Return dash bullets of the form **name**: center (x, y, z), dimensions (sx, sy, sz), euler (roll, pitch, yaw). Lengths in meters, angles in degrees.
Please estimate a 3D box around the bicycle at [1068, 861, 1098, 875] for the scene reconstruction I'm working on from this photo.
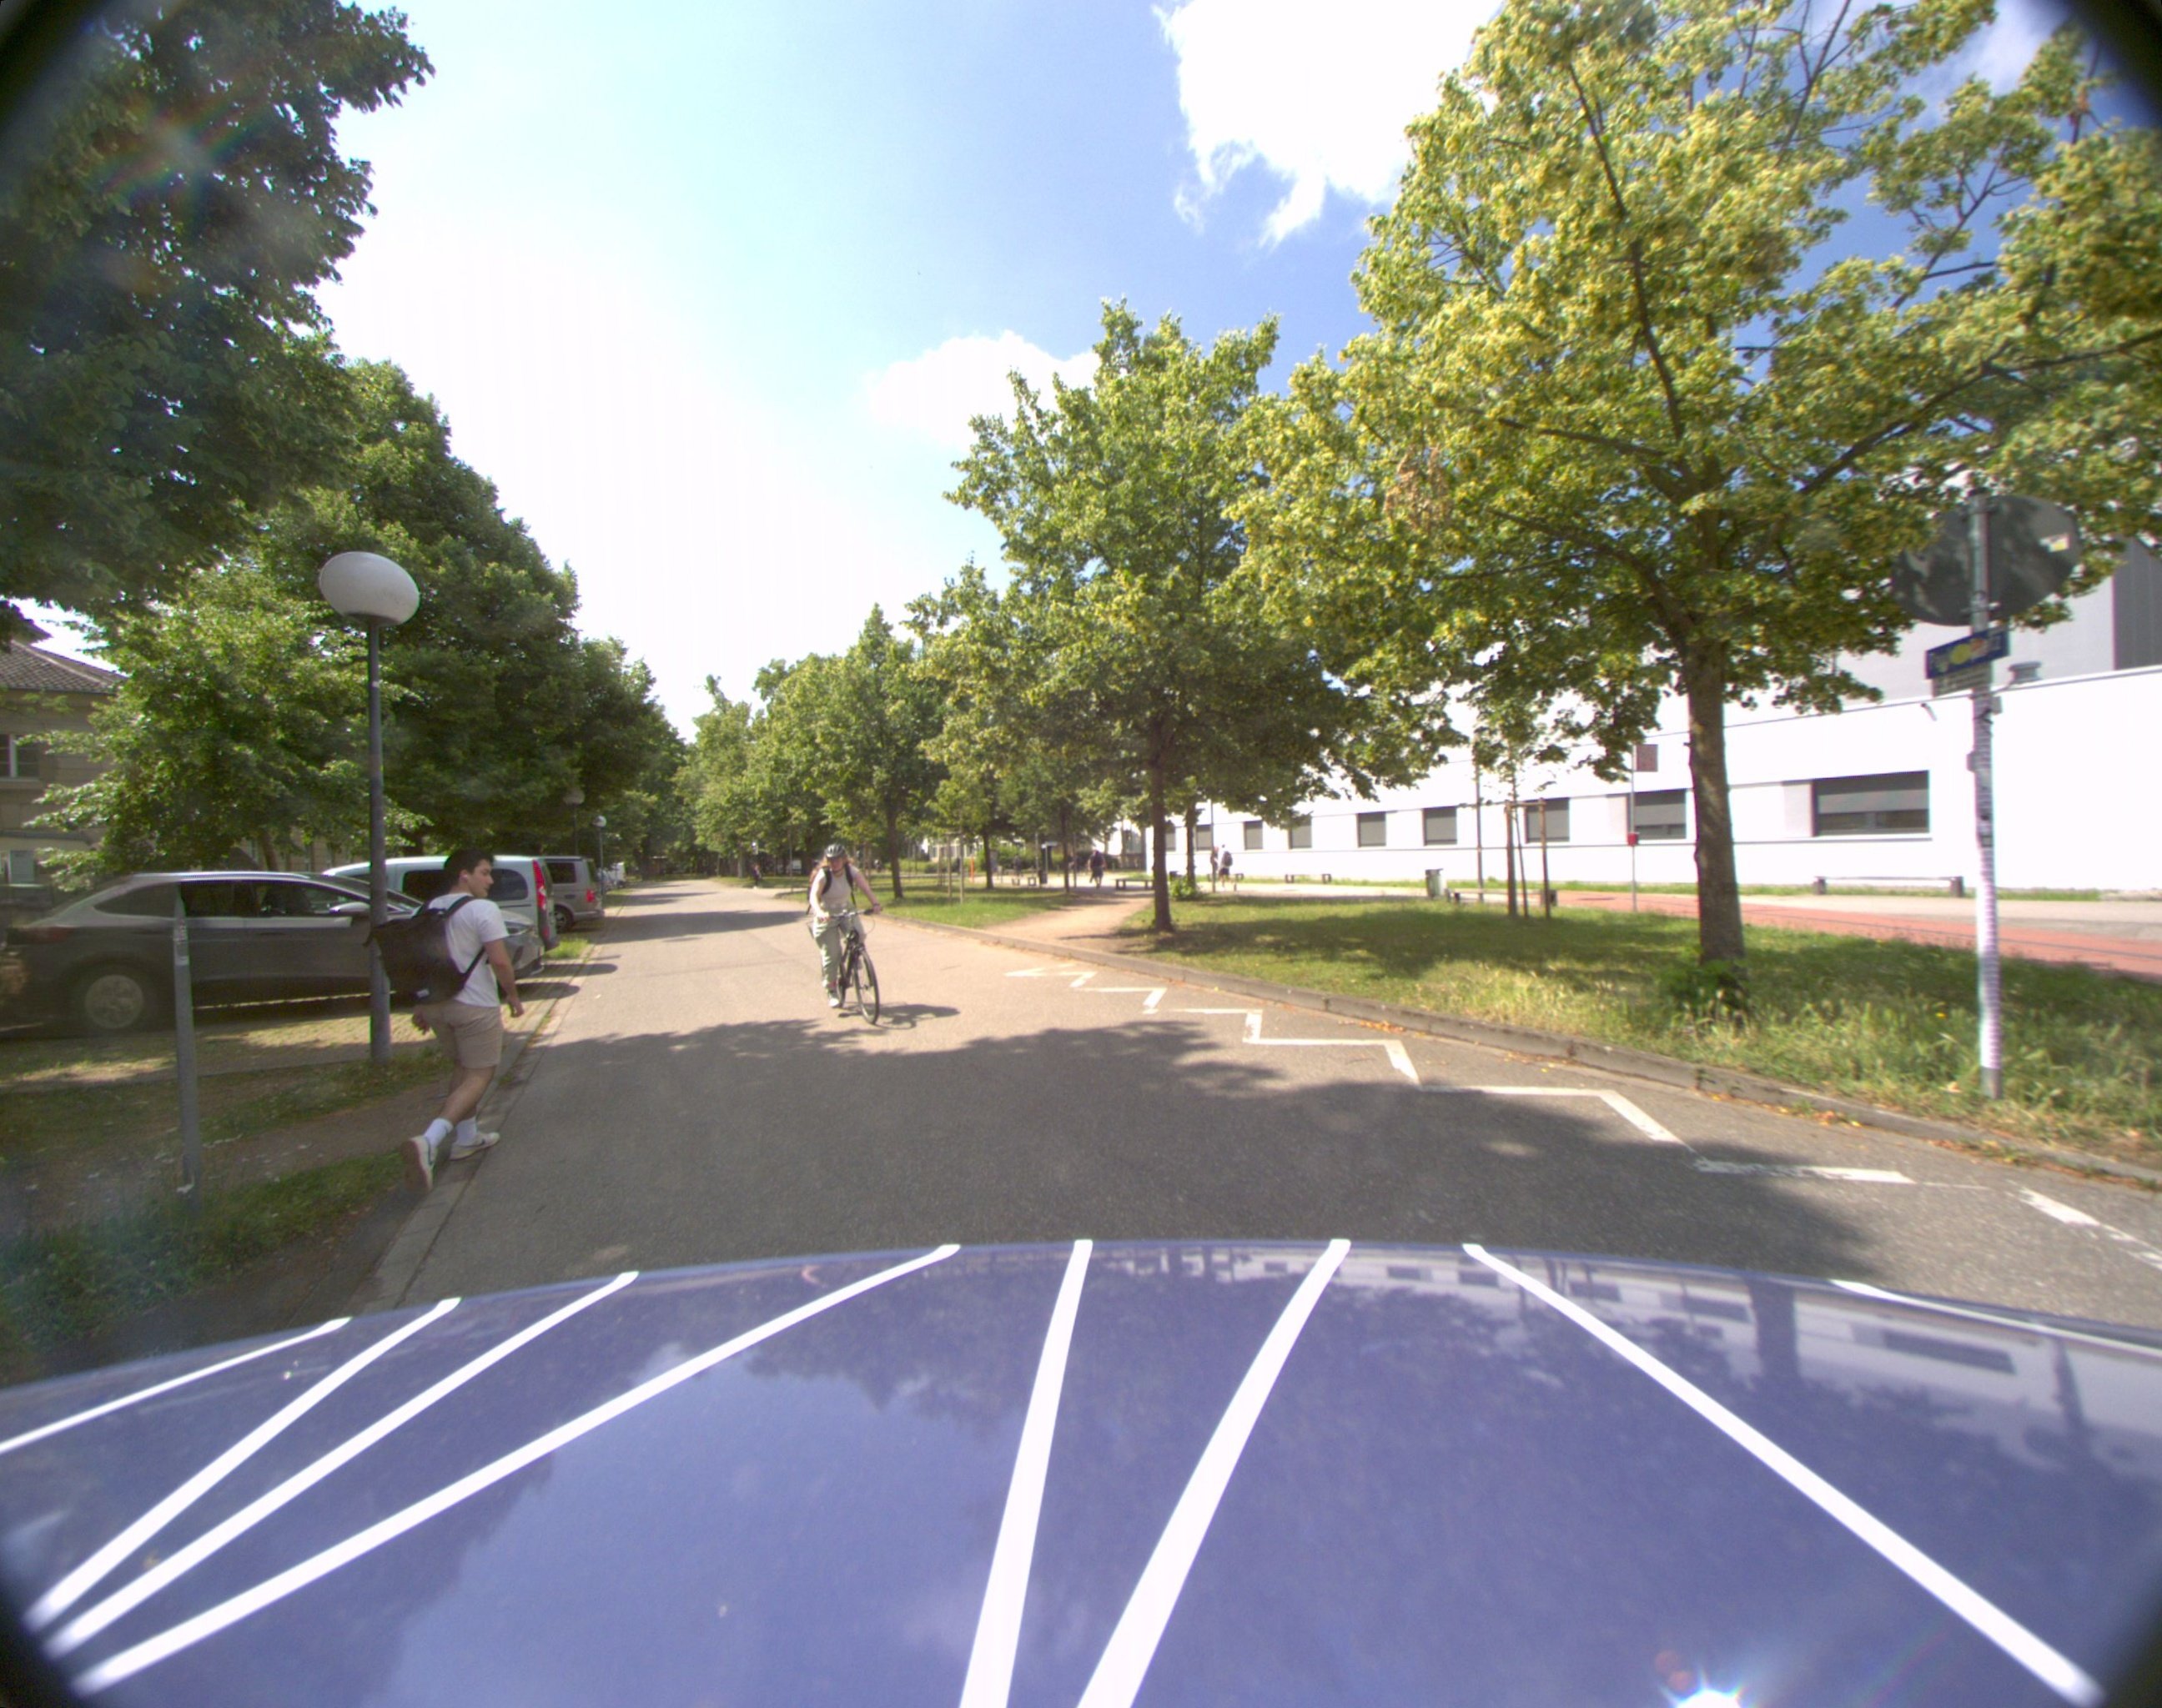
- **bicycle**: center (0.165, 0.983, 53.569), dimensions (1.949, 0.912, 0.797), euler (-2, 1, -24)

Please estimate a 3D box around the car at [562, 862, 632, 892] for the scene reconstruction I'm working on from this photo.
- **car**: center (-33.262, 1.541, 52.319), dimensions (3.860, 1.869, 1.777), euler (-2, 1, -28)

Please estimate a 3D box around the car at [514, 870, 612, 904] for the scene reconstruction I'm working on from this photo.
- **car**: center (-25.846, 1.612, 38.059), dimensions (3.860, 1.479, 1.720), euler (-2, 1, -28)

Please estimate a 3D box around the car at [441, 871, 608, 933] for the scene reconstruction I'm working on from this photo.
- **car**: center (-16.958, 1.423, 23.409), dimensions (3.860, 1.585, 1.782), euler (-2, 1, -28)

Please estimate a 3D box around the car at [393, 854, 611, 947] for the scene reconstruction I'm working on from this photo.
- **car**: center (-14.422, 1.086, 19.283), dimensions (4.058, 2.002, 1.995), euler (-2, 1, -28)

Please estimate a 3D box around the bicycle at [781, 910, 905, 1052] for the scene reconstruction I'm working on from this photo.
- **bicycle**: center (-2.439, 1.170, 7.595), dimensions (0.676, 1.066, 2.131), euler (-4, 1, -30)

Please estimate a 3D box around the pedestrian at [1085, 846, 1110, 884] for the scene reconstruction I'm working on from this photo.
- **pedestrian**: center (0.787, 0.536, 36.750), dimensions (0.795, 1.765, 1.092), euler (-2, 1, -24)

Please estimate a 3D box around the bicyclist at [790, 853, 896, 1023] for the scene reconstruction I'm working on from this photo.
- **bicyclist**: center (-2.320, 0.750, 7.333), dimensions (0.676, 1.470, 1.060), euler (-4, 2, -30)

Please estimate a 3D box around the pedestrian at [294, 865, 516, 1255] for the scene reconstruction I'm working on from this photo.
- **pedestrian**: center (-3.332, 0.935, 3.813), dimensions (0.642, 1.735, 0.581), euler (-2, 1, -27)

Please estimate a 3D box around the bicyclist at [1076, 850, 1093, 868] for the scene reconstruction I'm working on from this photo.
- **bicyclist**: center (0.242, 0.342, 53.604), dimensions (0.903, 1.252, 0.797), euler (-2, 1, -24)

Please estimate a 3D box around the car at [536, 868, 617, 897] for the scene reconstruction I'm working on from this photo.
- **car**: center (-30.485, 1.710, 46.033), dimensions (3.860, 1.513, 1.720), euler (-2, 1, -28)

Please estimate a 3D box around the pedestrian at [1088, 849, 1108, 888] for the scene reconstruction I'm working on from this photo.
- **pedestrian**: center (0.752, 0.636, 33.236), dimensions (0.726, 1.647, 0.716), euler (-2, 1, 12)

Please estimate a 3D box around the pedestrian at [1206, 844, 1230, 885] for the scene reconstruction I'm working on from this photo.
- **pedestrian**: center (5.820, 0.438, 32.328), dimensions (0.630, 1.678, 0.723), euler (-2, 1, -30)

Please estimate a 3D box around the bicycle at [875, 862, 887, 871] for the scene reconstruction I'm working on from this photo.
- **bicycle**: center (-23.076, 1.402, 87.799), dimensions (0.780, 1.026, 2.144), euler (-2, 1, -30)

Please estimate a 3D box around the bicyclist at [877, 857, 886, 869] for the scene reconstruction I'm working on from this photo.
- **bicyclist**: center (-22.933, 1.044, 87.530), dimensions (0.780, 1.325, 0.826), euler (-2, 1, -30)

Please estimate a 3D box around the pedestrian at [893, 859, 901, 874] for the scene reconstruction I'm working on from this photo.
- **pedestrian**: center (-20.127, 1.320, 83.191), dimensions (0.597, 1.619, 0.761), euler (-2, 1, -30)

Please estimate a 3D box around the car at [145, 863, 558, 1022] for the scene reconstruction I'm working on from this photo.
- **car**: center (-10.251, 1.116, 11.189), dimensions (4.006, 1.827, 1.820), euler (-2, 1, -30)

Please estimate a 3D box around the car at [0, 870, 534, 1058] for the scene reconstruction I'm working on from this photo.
- **car**: center (-9.166, 1.078, 8.822), dimensions (4.369, 1.642, 1.891), euler (-1, 0, -30)

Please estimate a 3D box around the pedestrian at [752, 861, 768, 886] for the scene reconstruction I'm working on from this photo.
- **pedestrian**: center (-20.093, 1.212, 47.607), dimensions (0.798, 1.479, 0.633), euler (-2, 1, -30)

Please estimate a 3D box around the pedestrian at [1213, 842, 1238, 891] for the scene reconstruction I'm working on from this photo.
- **pedestrian**: center (5.303, 0.441, 27.792), dimensions (0.710, 1.759, 0.831), euler (-2, 1, 21)

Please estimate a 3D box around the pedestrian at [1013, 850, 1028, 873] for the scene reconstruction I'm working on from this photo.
- **pedestrian**: center (-4.373, 0.522, 54.459), dimensions (0.851, 1.639, 0.802), euler (-2, 1, -19)

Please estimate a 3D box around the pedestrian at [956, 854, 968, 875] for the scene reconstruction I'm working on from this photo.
- **pedestrian**: center (-10.204, 0.895, 65.160), dimensions (0.798, 1.712, 0.633), euler (-2, 1, -30)
